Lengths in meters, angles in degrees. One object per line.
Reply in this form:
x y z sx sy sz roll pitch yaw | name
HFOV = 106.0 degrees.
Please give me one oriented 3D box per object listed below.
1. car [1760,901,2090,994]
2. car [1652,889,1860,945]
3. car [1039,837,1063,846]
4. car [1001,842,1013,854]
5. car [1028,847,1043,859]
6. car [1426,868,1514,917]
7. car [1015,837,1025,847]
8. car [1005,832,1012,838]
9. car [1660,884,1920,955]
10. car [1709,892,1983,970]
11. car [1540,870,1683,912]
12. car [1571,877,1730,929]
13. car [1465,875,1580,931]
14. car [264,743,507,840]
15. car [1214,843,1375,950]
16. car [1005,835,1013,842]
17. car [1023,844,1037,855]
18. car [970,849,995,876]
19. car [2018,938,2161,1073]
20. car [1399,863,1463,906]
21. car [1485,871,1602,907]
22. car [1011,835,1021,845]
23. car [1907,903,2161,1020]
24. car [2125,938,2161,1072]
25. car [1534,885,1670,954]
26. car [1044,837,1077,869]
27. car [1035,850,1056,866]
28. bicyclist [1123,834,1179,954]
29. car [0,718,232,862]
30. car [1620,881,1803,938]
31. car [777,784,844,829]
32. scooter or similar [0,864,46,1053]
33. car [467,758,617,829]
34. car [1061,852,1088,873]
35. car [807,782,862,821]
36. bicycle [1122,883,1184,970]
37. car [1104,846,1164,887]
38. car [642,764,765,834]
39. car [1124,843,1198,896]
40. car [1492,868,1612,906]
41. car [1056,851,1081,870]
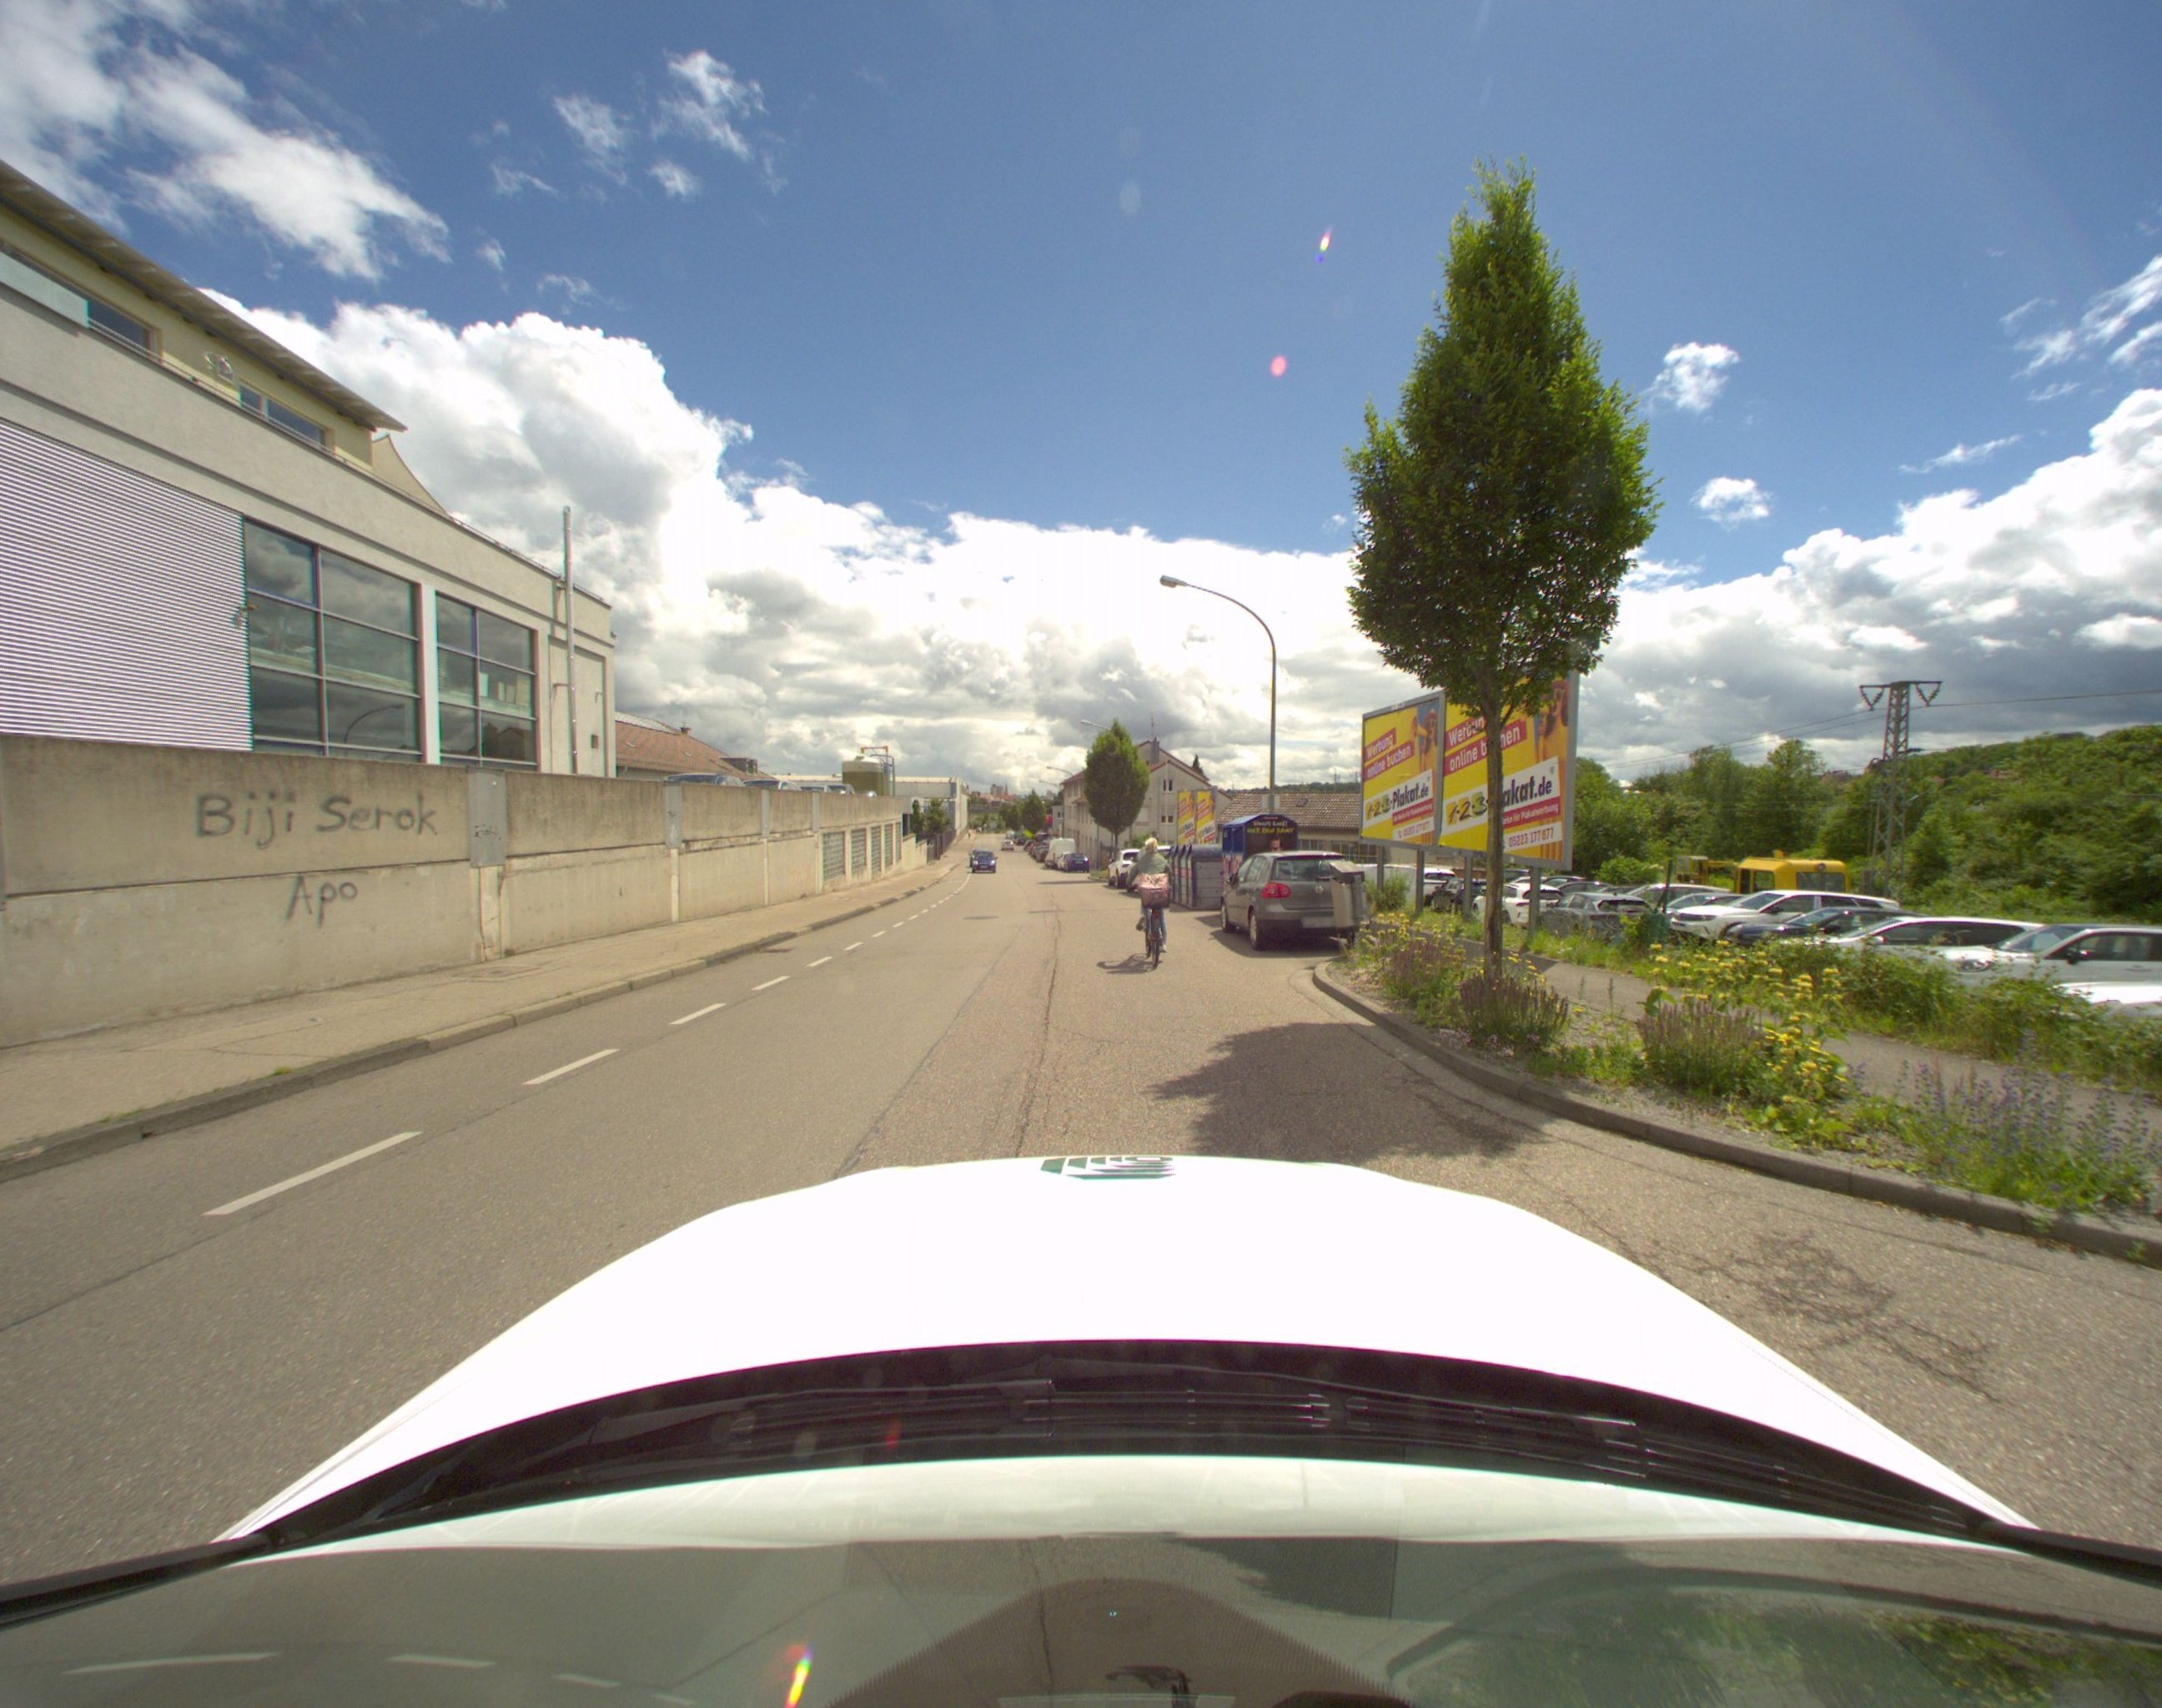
15.502 1.655 15.310 3.986 1.354 1.749 0 0 32 | car
18.104 1.662 22.052 3.958 1.330 1.762 0 0 14 | car
-5.200 -2.176 141.849 4.024 1.462 1.736 -1 3 44 | car
-10.725 -0.853 117.930 1.565 1.786 3.596 0 0 -7 | car
-5.891 -0.146 105.313 1.733 1.472 4.252 1 2 -7 | car
14.760 1.413 31.155 1.801 1.622 4.475 -2 0 9 | car
-11.066 -2.192 147.673 1.677 1.638 4.115 0 1 -5 | car
-19.338 -5.041 216.730 1.699 1.527 3.731 1 1 -5 | car
17.213 1.557 20.032 4.417 1.554 2.007 0 0 12 | car
16.300 1.599 17.611 3.954 1.442 1.745 0 0 18 | car
19.119 1.326 29.529 4.001 1.390 1.751 -2 0 14 | car
18.865 1.595 27.173 3.958 1.612 1.803 0 0 14 | car
14.175 1.512 26.470 1.742 1.517 4.592 -2 0 8 | car
-13.972 -1.158 16.741 1.804 1.637 4.103 0 0 -7 | car
3.382 0.612 13.664 1.649 1.485 4.044 -2 0 1 | car
-18.199 -3.976 206.183 1.702 1.527 3.725 3 1 -11 | car
-7.631 -0.684 121.286 1.790 1.465 4.695 0 1 -8 | car
-7.079 0.607 58.316 1.626 1.817 3.768 -1 0 -9 | car
14.730 1.913 9.937 3.949 1.451 1.756 0 0 29 | car
15.589 1.299 36.461 1.737 1.685 4.695 -2 0 12 | car
19.854 1.516 35.149 4.139 1.390 1.799 -2 0 20 | car
-12.933 -2.783 162.311 1.867 1.990 5.131 0 1 -7 | car
15.835 1.616 12.582 3.949 1.540 1.799 0 0 29 | car
14.001 1.749 8.159 3.949 1.487 1.824 0 0 29 | car
13.591 1.633 21.537 1.683 1.446 4.167 1 0 12 | car
-1.891 -0.029 71.435 2.032 2.641 7.262 0 0 -8 | car
-3.864 0.423 87.593 1.703 1.509 5.074 2 2 -8 | car
0.972 0.539 11.402 0.737 1.626 0.731 0 -1 1 | bicyclist
-13.248 -0.723 9.905 1.804 1.637 4.103 0 0 -7 | car
18.763 1.607 24.438 3.958 1.559 1.830 0 0 14 | car
-11.343 -1.934 34.385 1.803 1.637 4.096 0 0 -6 | car
-7.519 0.706 5.040 0.519 1.276 1.379 2 -1 -8 | scooter or similar
-14.891 -1.611 22.799 1.804 1.637 4.103 0 0 -7 | car
-0.515 0.647 60.562 1.565 1.510 4.083 0 0 -7 | car
-12.076 -2.536 40.153 1.803 1.637 4.096 0 0 -6 | car
0.971 0.967 11.360 0.737 0.975 1.733 1 2 1 | bicycle
2.152 0.505 34.222 1.839 1.565 4.458 -2 0 -5 | car
-10.354 -1.447 22.677 1.803 1.637 4.096 0 0 -6 | car
2.672 0.511 28.271 1.683 1.659 4.470 -1 0 -6 | car
18.880 1.327 32.819 3.954 1.390 1.605 -2 0 21 | car
-1.041 0.539 65.351 1.592 1.510 3.779 0 0 -8 | car
